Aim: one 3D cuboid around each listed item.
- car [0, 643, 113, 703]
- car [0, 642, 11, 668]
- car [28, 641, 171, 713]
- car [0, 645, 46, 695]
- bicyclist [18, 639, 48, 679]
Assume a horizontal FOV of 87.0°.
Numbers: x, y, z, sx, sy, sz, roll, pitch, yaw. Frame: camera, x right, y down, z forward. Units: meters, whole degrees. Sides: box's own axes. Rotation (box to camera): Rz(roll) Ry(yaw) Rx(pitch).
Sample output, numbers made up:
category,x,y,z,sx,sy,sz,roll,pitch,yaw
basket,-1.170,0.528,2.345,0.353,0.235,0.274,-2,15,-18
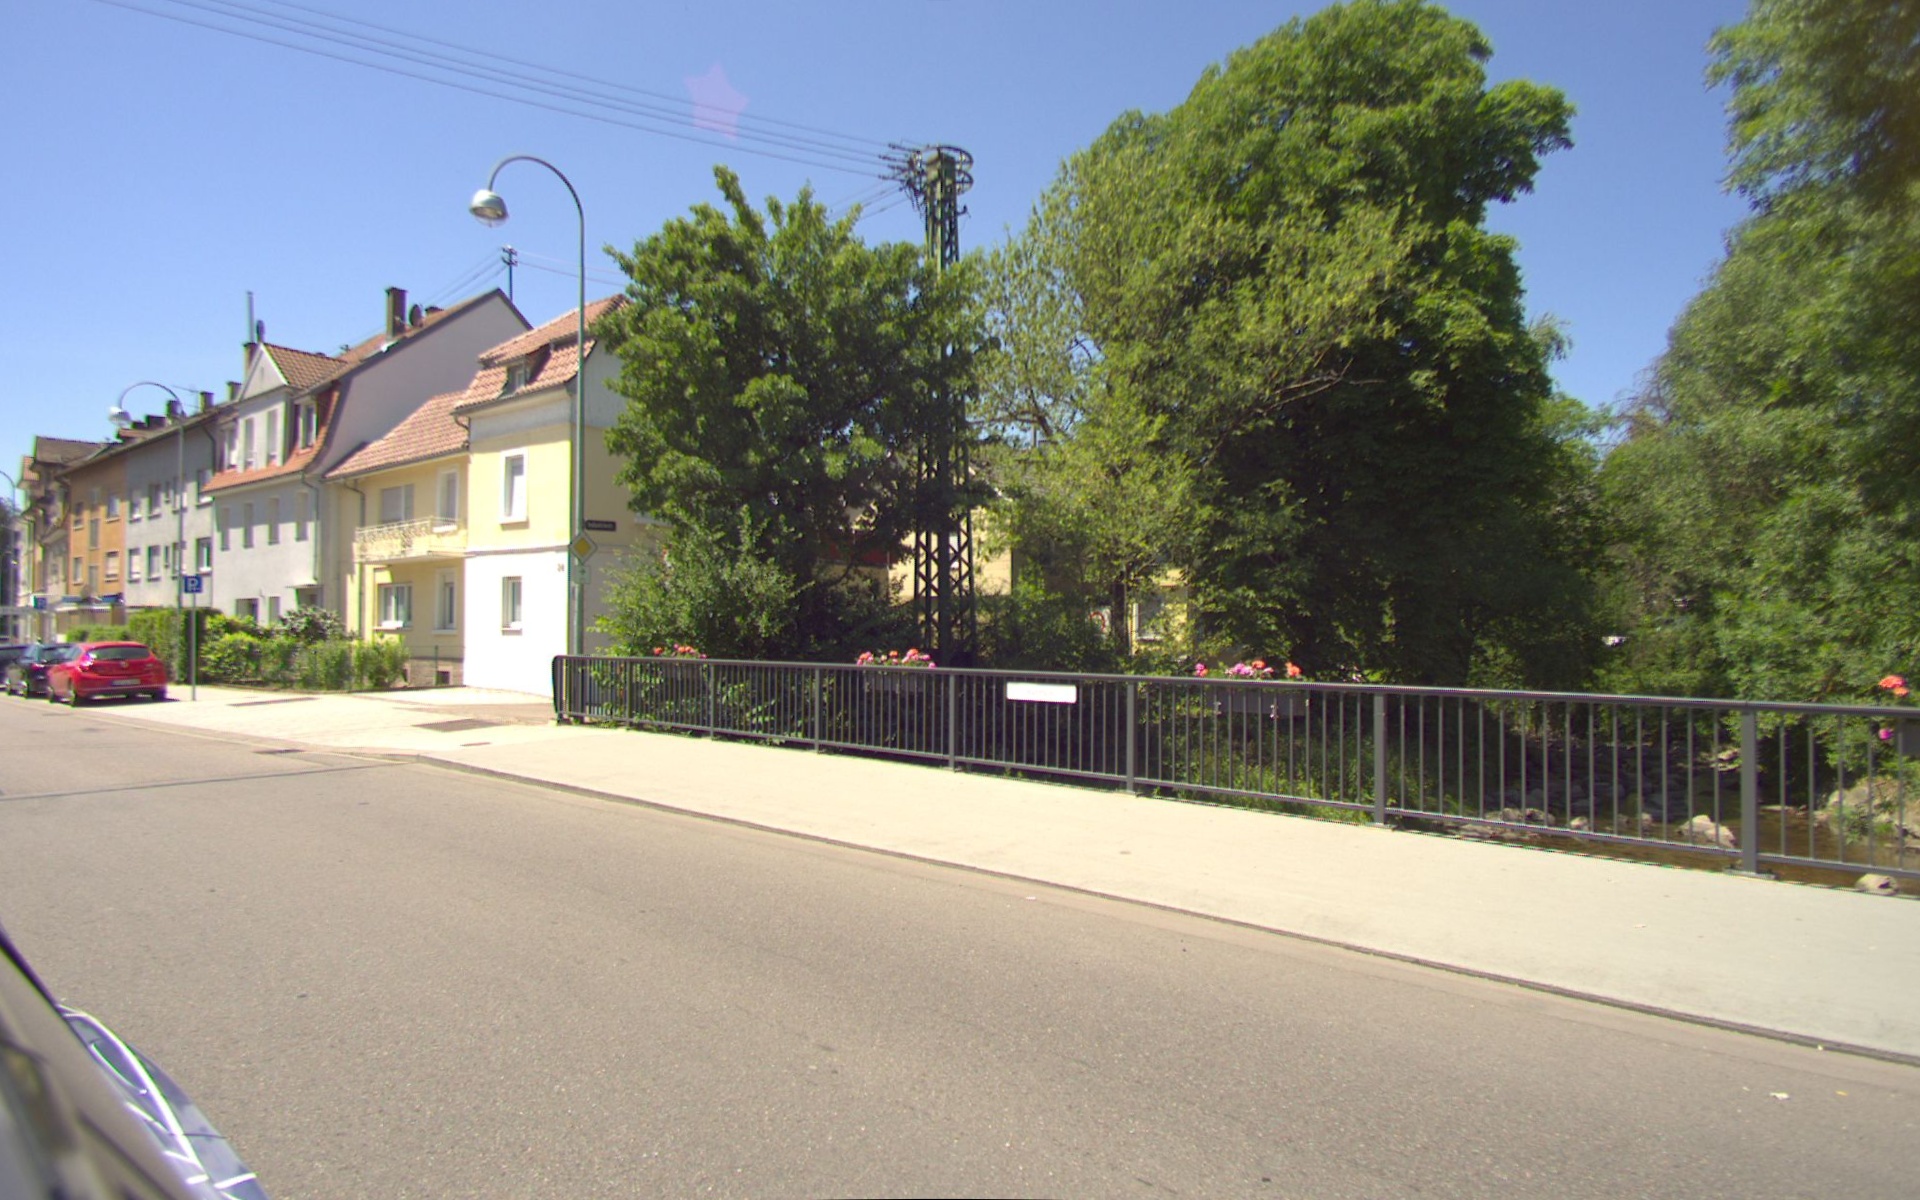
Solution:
category,x,y,z,sx,sy,sz,roll,pitch,yaw
car,-25.747,2.014,28.544,5.300,1.473,1.845,-3,-1,39
car,-59.804,3.409,62.338,4.116,1.553,1.775,-2,-2,44
car,-21.232,1.828,24.911,4.733,1.491,1.859,-2,0,39
car,-30.578,2.225,32.267,4.197,1.470,1.768,-3,0,43
bicyclist,-39.813,2.523,43.479,0.834,1.672,0.775,-2,-3,37
